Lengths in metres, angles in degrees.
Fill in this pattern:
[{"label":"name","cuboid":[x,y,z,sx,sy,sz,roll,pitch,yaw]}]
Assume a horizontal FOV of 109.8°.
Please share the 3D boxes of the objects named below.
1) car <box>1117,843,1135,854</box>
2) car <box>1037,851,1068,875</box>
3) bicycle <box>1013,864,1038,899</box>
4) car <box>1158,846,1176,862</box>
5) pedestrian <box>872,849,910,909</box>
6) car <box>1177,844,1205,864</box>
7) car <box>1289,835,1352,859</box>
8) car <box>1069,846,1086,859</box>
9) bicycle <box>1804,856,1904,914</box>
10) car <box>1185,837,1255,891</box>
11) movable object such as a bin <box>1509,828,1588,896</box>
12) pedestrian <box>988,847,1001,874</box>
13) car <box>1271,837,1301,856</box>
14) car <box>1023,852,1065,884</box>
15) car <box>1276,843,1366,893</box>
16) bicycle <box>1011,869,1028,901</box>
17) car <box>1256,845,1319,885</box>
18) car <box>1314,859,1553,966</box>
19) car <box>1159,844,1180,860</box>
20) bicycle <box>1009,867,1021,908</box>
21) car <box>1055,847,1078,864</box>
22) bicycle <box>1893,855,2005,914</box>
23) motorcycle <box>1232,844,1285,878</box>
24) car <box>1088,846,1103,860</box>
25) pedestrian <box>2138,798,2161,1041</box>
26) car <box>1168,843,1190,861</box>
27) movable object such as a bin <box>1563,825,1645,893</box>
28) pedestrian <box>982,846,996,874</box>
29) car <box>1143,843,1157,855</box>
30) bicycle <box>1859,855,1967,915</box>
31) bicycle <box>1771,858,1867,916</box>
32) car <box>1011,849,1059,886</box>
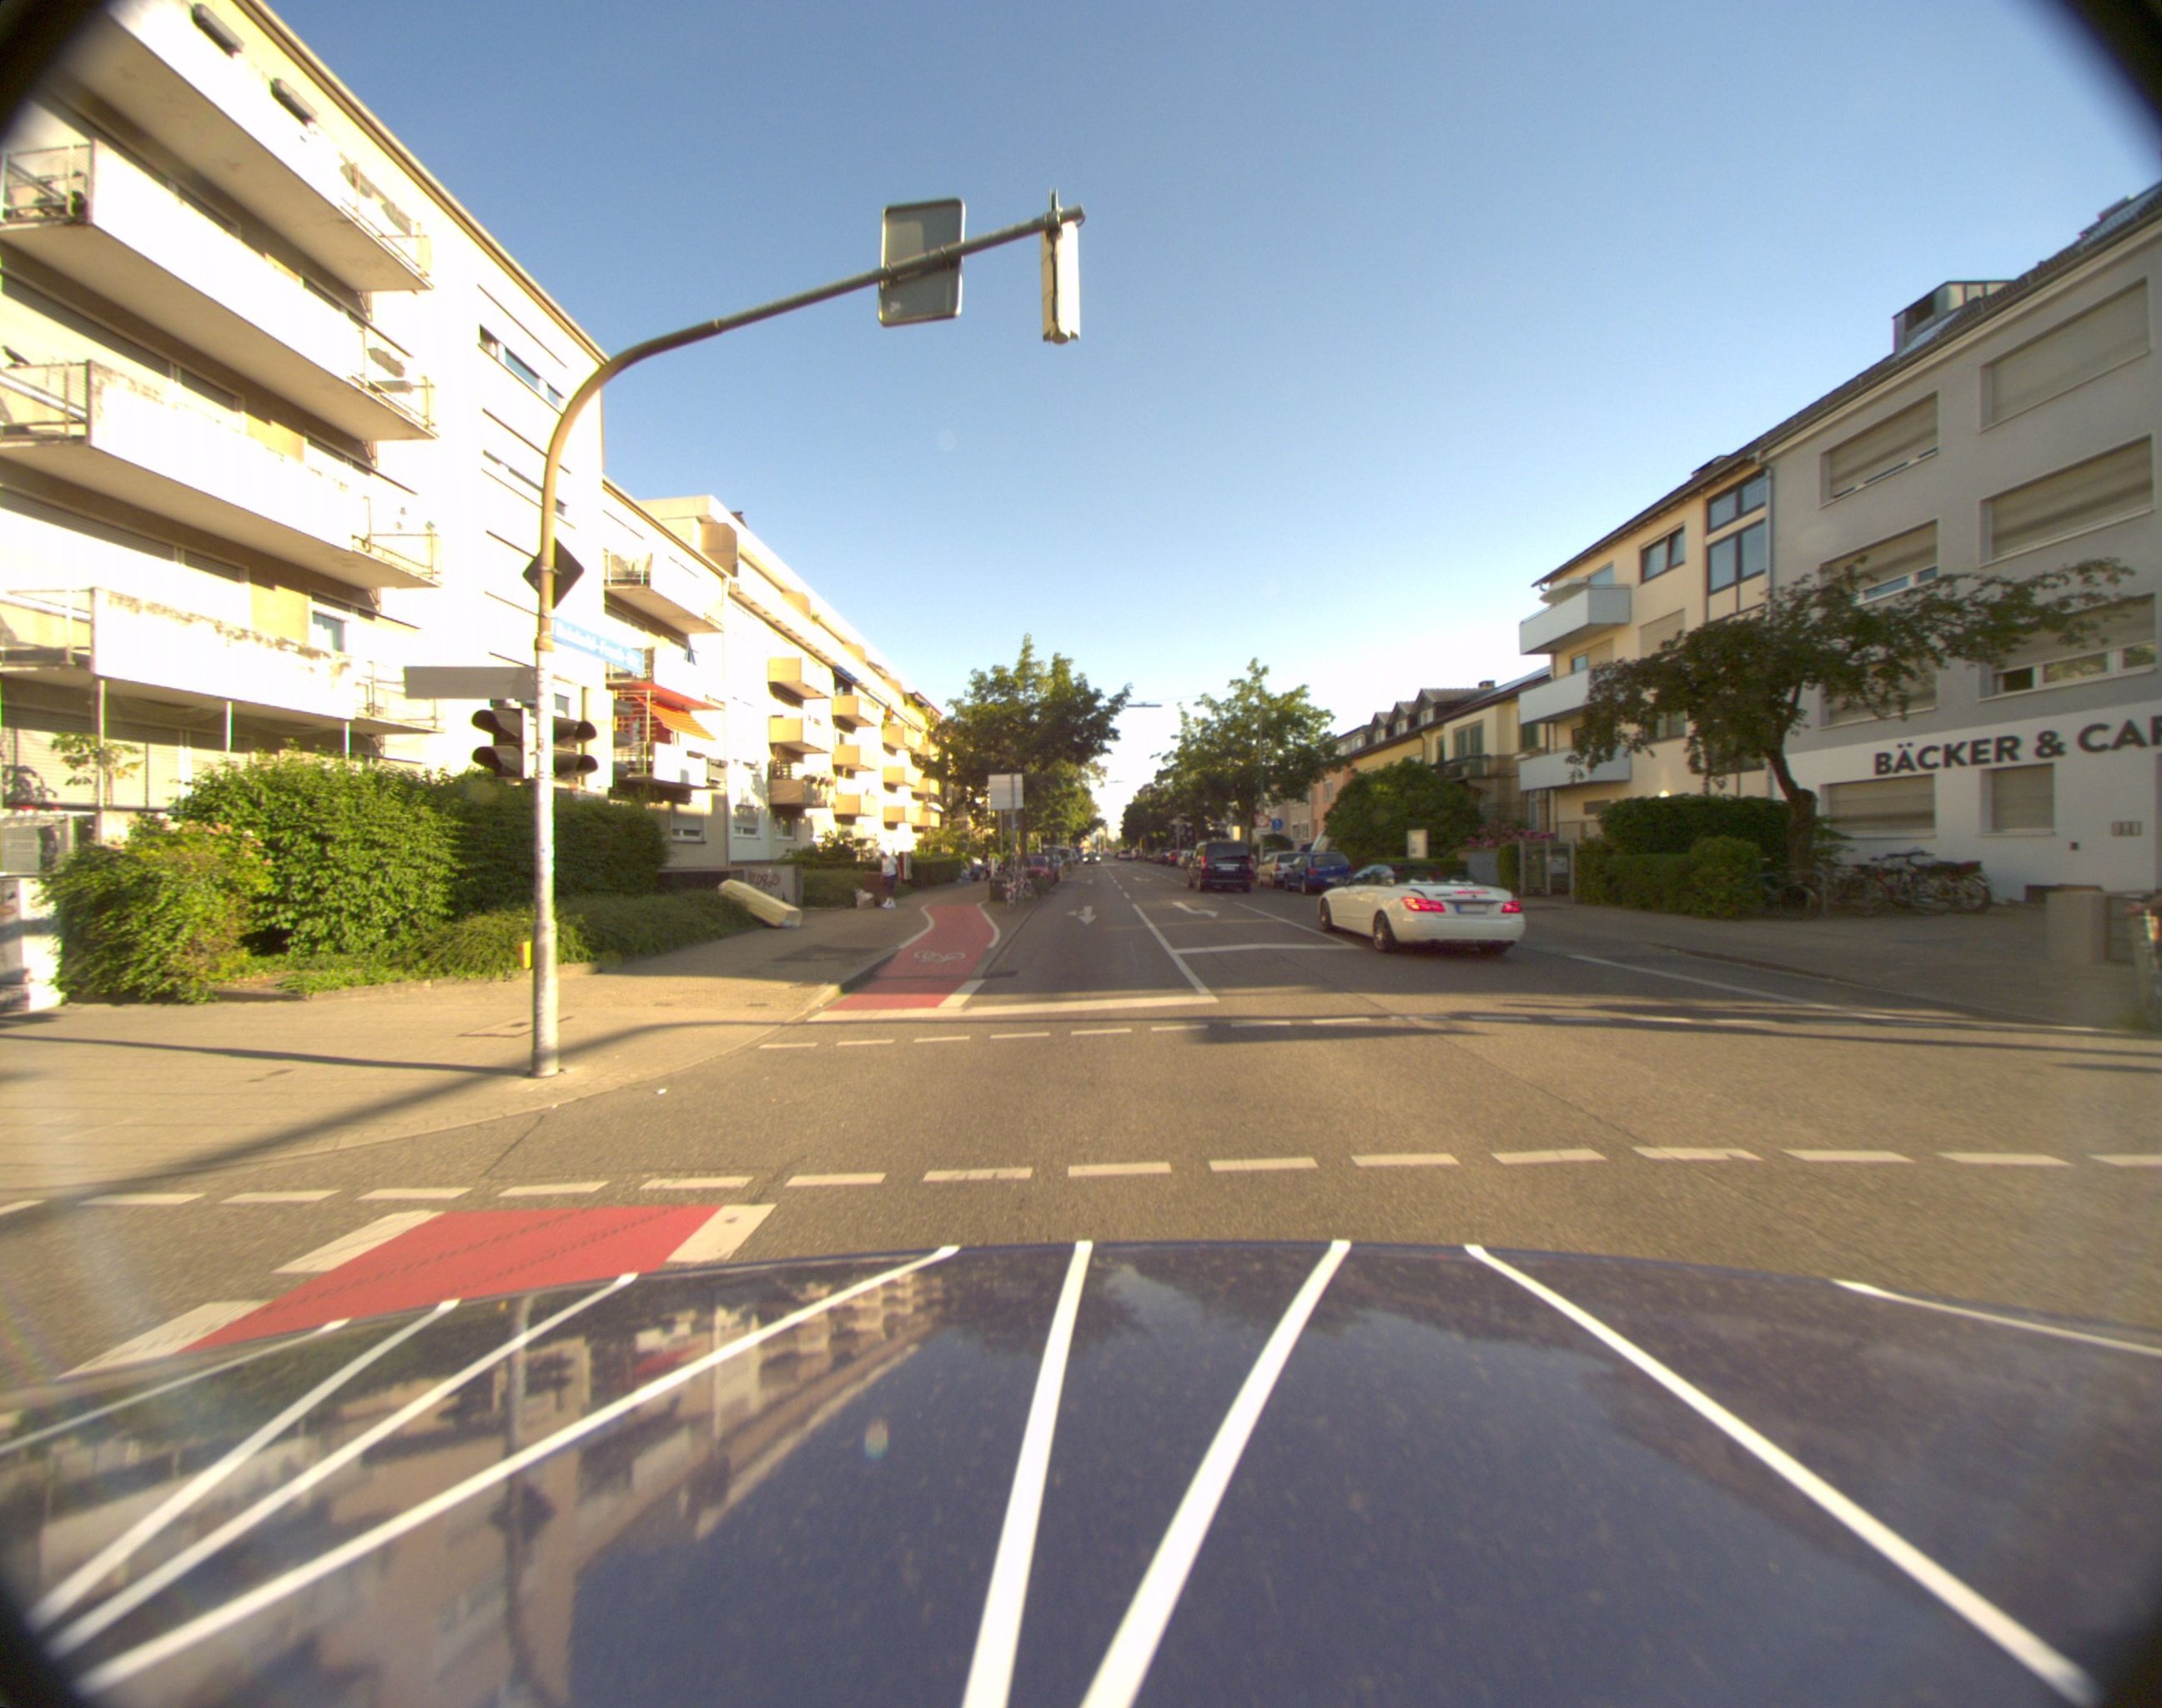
[{"label":"car","cuboid":[6.646,-0.802,112.082,1.843,1.605,4.406,-1,1,-6]},{"label":"car","cuboid":[-1.928,0.618,52.752,1.744,1.509,3.811,-1,1,3]},{"label":"bicycle","cuboid":[-1.955,0.971,27.099,0.324,1.138,1.802,-1,1,14]},{"label":"car","cuboid":[9.556,-0.015,84.793,1.692,1.656,3.659,-1,1,1]},{"label":"pedestrian","cuboid":[-5.331,0.692,21.326,0.830,1.673,0.660,0,1,5]},{"label":"car","cuboid":[9.449,-0.062,65.443,1.842,1.605,4.409,-1,1,1]},{"label":"car","cuboid":[17.370,-0.507,55.061,4.416,1.605,1.839,-2,1,-30]},{"label":"car","cuboid":[-0.390,-0.171,91.232,1.744,1.509,3.811,-1,1,3]},{"label":"bicycle","cuboid":[14.408,0.552,14.213,0.439,1.009,1.477,-1,1,4]},{"label":"car","cuboid":[5.246,0.315,29.166,1.842,1.866,4.408,-1,1,0]},{"label":"movable object such as a bin","cuboid":[12.498,0.191,20.364,1.309,1.649,1.180,-5,2,1]},{"label":"pedestrian","cuboid":[-5.478,0.389,48.078,0.659,1.673,0.831,0,1,6]},{"label":"car","cuboid":[18.088,-0.658,67.082,1.841,1.605,4.411,-1,1,6]},{"label":"car","cuboid":[-1.880,0.684,39.562,1.744,1.509,3.811,-1,1,3]},{"label":"car","cuboid":[8.369,0.428,26.891,1.810,1.605,3.950,-1,1,-2]},{"label":"bicycle","cuboid":[-2.020,1.016,24.882,0.325,0.981,1.191,-1,1,5]},{"label":"car","cuboid":[8.469,0.396,31.479,1.755,1.526,3.572,-1,1,2]},{"label":"car","cuboid":[5.349,0.799,12.285,1.845,1.312,4.441,0,1,1]},{"label":"car","cuboid":[8.960,-0.250,77.108,1.692,1.554,3.659,-1,1,1]},{"label":"bicycle","cuboid":[-1.977,0.985,22.893,0.325,1.138,1.799,-1,1,-4]},{"label":"car","cuboid":[-1.292,0.121,69.557,1.744,1.509,3.811,-1,1,3]},{"label":"bicycle","cuboid":[15.924,0.535,13.983,0.439,1.009,1.477,-1,1,4]},{"label":"motorcycle","cuboid":[8.378,0.302,36.018,1.263,1.526,2.887,-2,1,-13]},{"label":"car","cuboid":[1.605,-0.143,86.004,1.641,1.482,4.415,0,1,0]},{"label":"pedestrian","cuboid":[9.193,0.539,5.998,0.639,2.002,0.739,-1,1,2]},{"label":"car","cuboid":[9.177,-0.217,71.194,1.642,1.554,3.659,-1,1,1]},{"label":"movable object such as a bin","cuboid":[13.878,0.109,20.204,1.309,1.649,1.180,-5,2,1]},{"label":"pedestrian","cuboid":[-5.604,0.372,46.322,0.659,1.673,0.831,0,1,6]},{"label":"car","cuboid":[9.397,-0.668,103.295,1.642,1.554,3.659,-1,1,1]},{"label":"bicycle","cuboid":[15.306,0.543,14.032,0.439,1.009,1.477,-1,1,4]},{"label":"bicycle","cuboid":[13.803,0.594,14.265,0.439,1.009,1.477,-1,1,4]},{"label":"car","cuboid":[-2.054,0.575,34.711,1.744,1.509,3.811,-1,1,3]}]
